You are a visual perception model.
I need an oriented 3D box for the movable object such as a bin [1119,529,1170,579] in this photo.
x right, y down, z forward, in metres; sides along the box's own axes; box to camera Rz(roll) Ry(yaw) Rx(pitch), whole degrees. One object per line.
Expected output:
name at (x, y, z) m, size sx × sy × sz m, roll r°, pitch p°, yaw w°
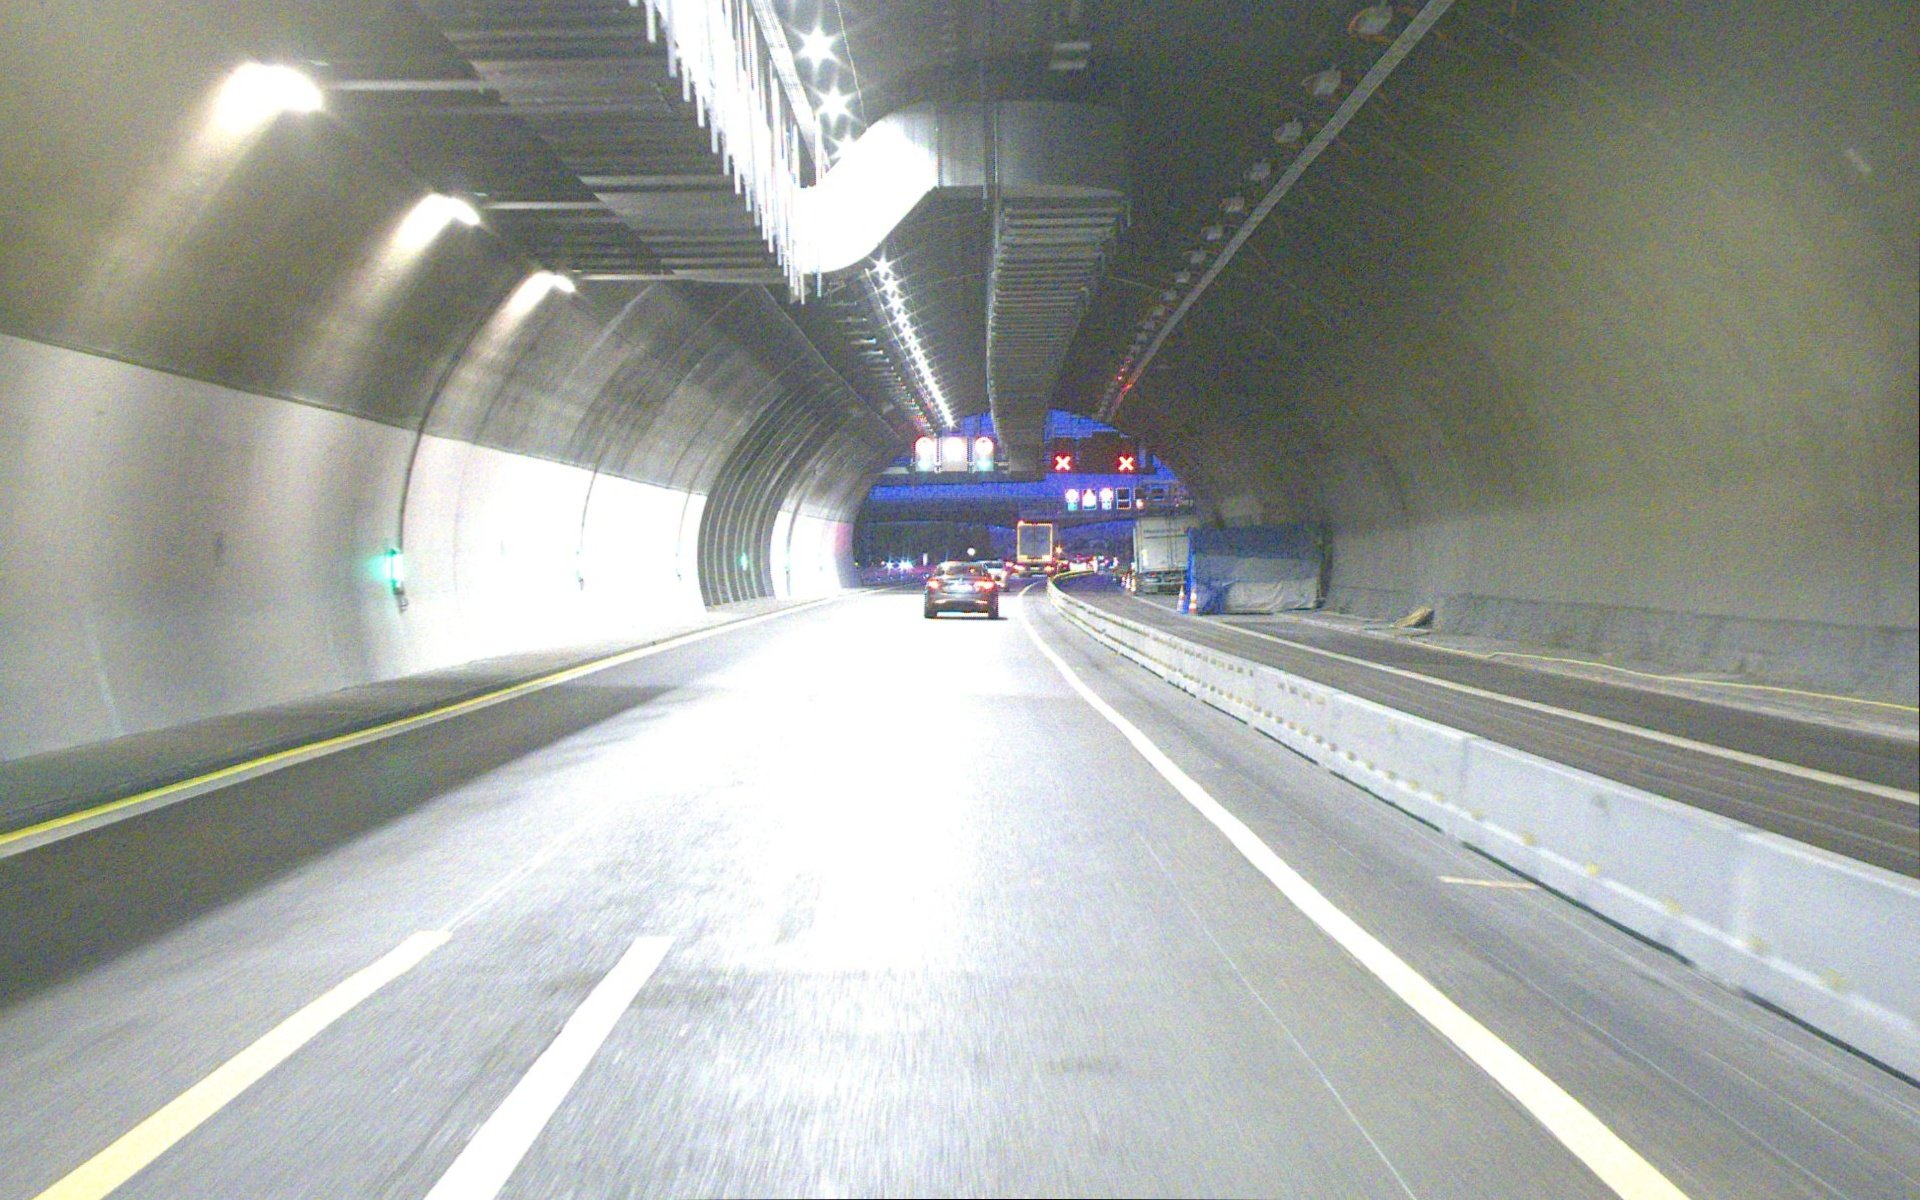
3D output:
movable object such as a bin at (10.263, -2.551, 191.854) m, size 2.737 × 2.744 × 7.049 m, roll 0°, pitch 0°, yaw 2°

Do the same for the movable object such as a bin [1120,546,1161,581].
movable object such as a bin at (9.397, -1.883, 179.186) m, size 1.978 × 1.809 × 3.836 m, roll 0°, pitch 0°, yaw 1°

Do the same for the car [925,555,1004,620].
car at (0.094, -0.328, 87.594) m, size 1.887 × 1.601 × 4.000 m, roll 0°, pitch 0°, yaw -2°

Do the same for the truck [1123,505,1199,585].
truck at (8.510, -2.311, 146.228) m, size 2.892 × 3.261 × 8.401 m, roll 0°, pitch 0°, yaw 1°

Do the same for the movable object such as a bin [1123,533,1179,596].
movable object such as a bin at (8.569, -1.592, 154.777) m, size 2.238 × 2.784 × 7.233 m, roll 0°, pitch 0°, yaw 1°

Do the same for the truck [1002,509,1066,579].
truck at (5.385, -4.041, 251.102) m, size 4.546 × 4.970 × 9.599 m, roll 0°, pitch 0°, yaw 1°
